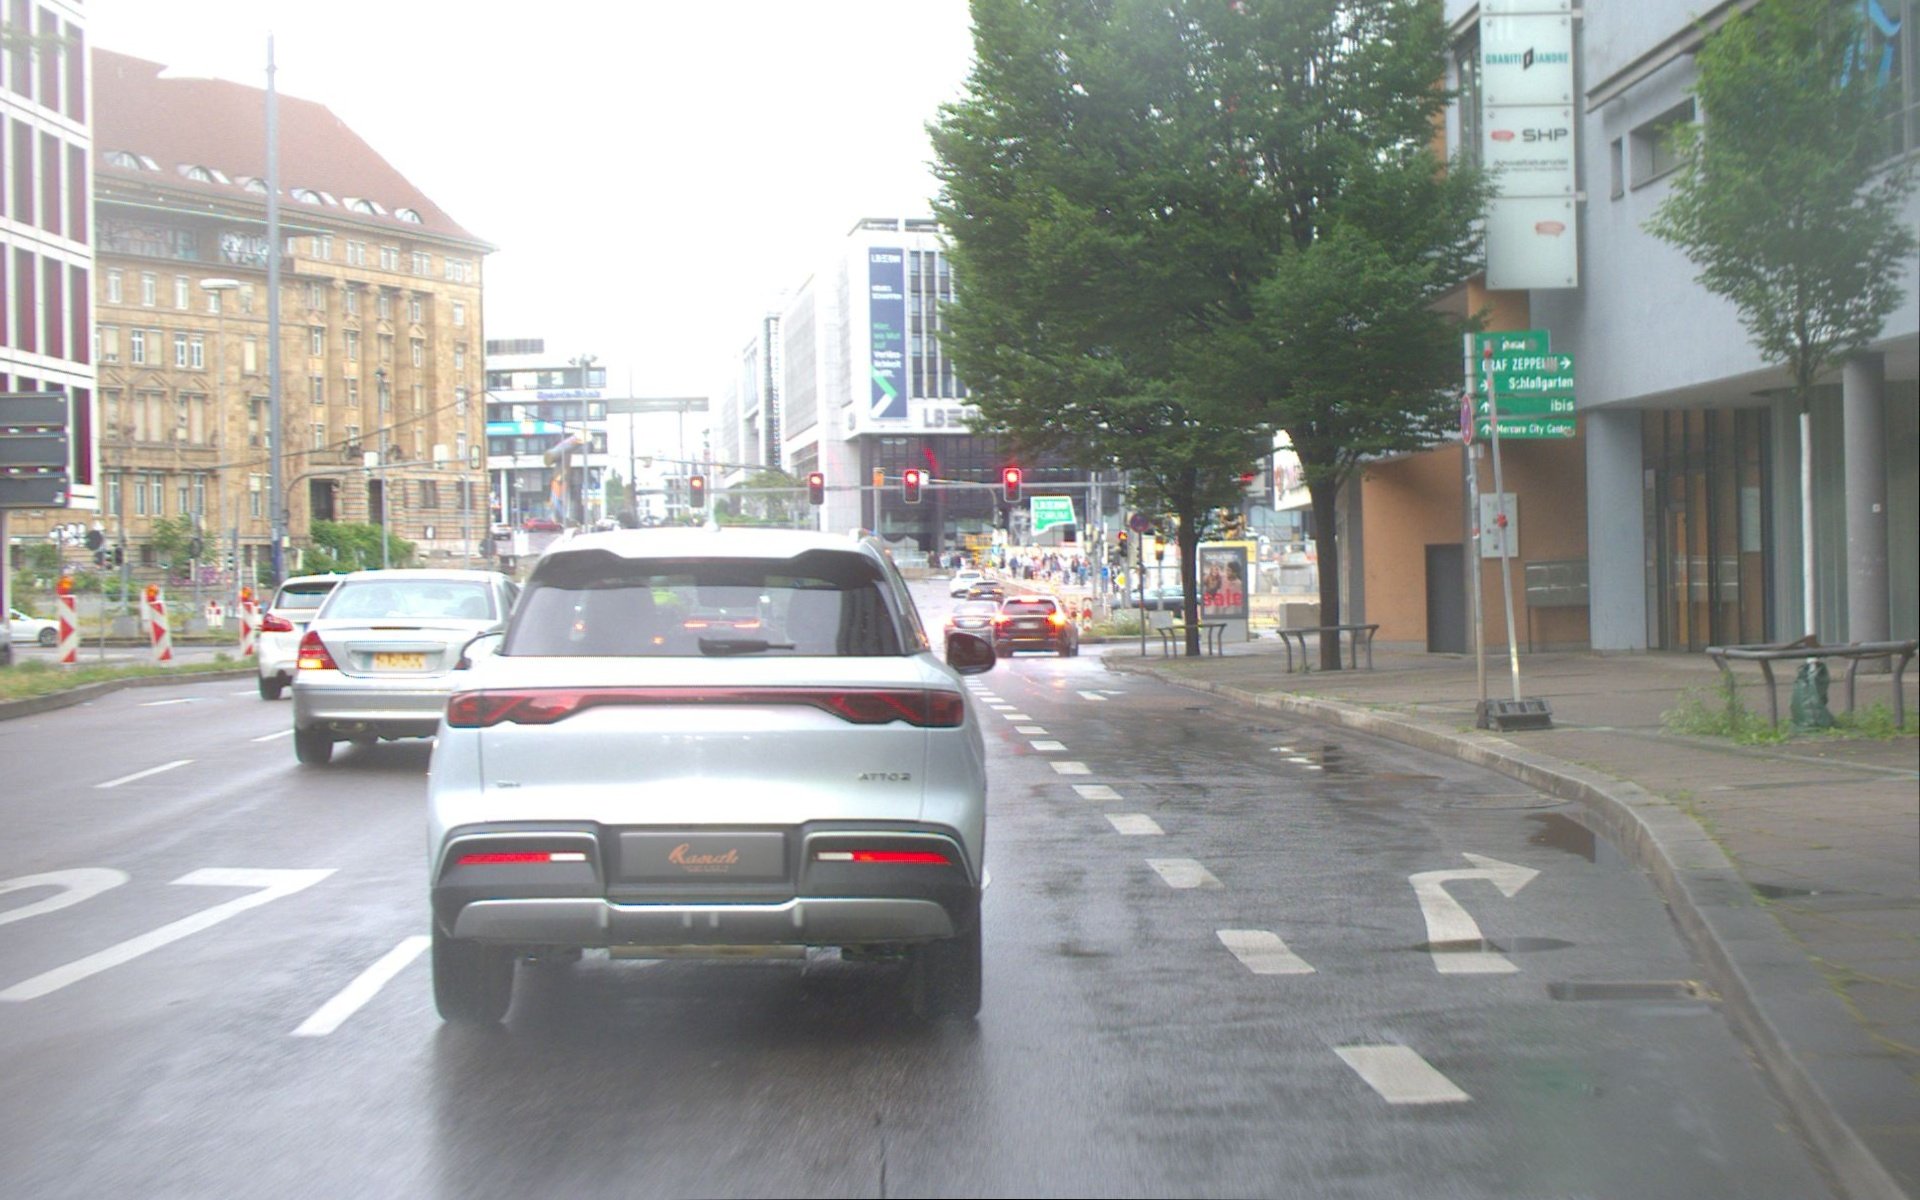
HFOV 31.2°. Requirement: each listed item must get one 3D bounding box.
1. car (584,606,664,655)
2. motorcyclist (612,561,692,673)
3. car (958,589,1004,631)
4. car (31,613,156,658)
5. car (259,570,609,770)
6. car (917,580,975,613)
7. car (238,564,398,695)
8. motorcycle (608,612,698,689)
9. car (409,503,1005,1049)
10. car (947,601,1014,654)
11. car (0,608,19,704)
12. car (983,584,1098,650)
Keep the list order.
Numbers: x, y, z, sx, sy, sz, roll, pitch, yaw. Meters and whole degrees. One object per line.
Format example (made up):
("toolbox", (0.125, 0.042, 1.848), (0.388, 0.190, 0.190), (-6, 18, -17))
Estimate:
("car", (-9.482, 0.873, 97.286), (1.783, 1.369, 3.993), (0, -1, 1))
("motorcyclist", (-4.090, 0.235, 45.750), (0.941, 1.470, 1.100), (0, -1, 1))
("car", (1.025, 0.508, 168.174), (1.993, 2.007, 4.000), (0, -1, -3))
("car", (-31.972, 1.312, 126.809), (4.379, 1.656, 2.000), (0, -1, -16))
("car", (-3.936, 0.518, 26.419), (1.733, 1.399, 4.382), (0, -1, 4))
("car", (-0.803, -0.199, 194.988), (1.993, 1.810, 4.001), (0, -1, -20))
("car", (-8.198, 0.387, 44.178), (1.732, 1.610, 4.001), (0, -1, -6))
("motorcycle", (-4.070, 0.658, 45.737), (0.942, 0.986, 2.294), (0, 0, 1))
("car", (-0.866, 0.562, 12.563), (1.808, 1.655, 4.171), (0, -1, -3))
("car", (0.616, 0.785, 100.593), (1.783, 1.397, 4.486), (0, 1, 2))
("car", (-17.231, 0.946, 57.950), (1.825, 1.627, 4.876), (0, -1, -6))
("car", (1.960, 0.428, 82.636), (1.892, 1.539, 3.990), (0, -1, 15))
